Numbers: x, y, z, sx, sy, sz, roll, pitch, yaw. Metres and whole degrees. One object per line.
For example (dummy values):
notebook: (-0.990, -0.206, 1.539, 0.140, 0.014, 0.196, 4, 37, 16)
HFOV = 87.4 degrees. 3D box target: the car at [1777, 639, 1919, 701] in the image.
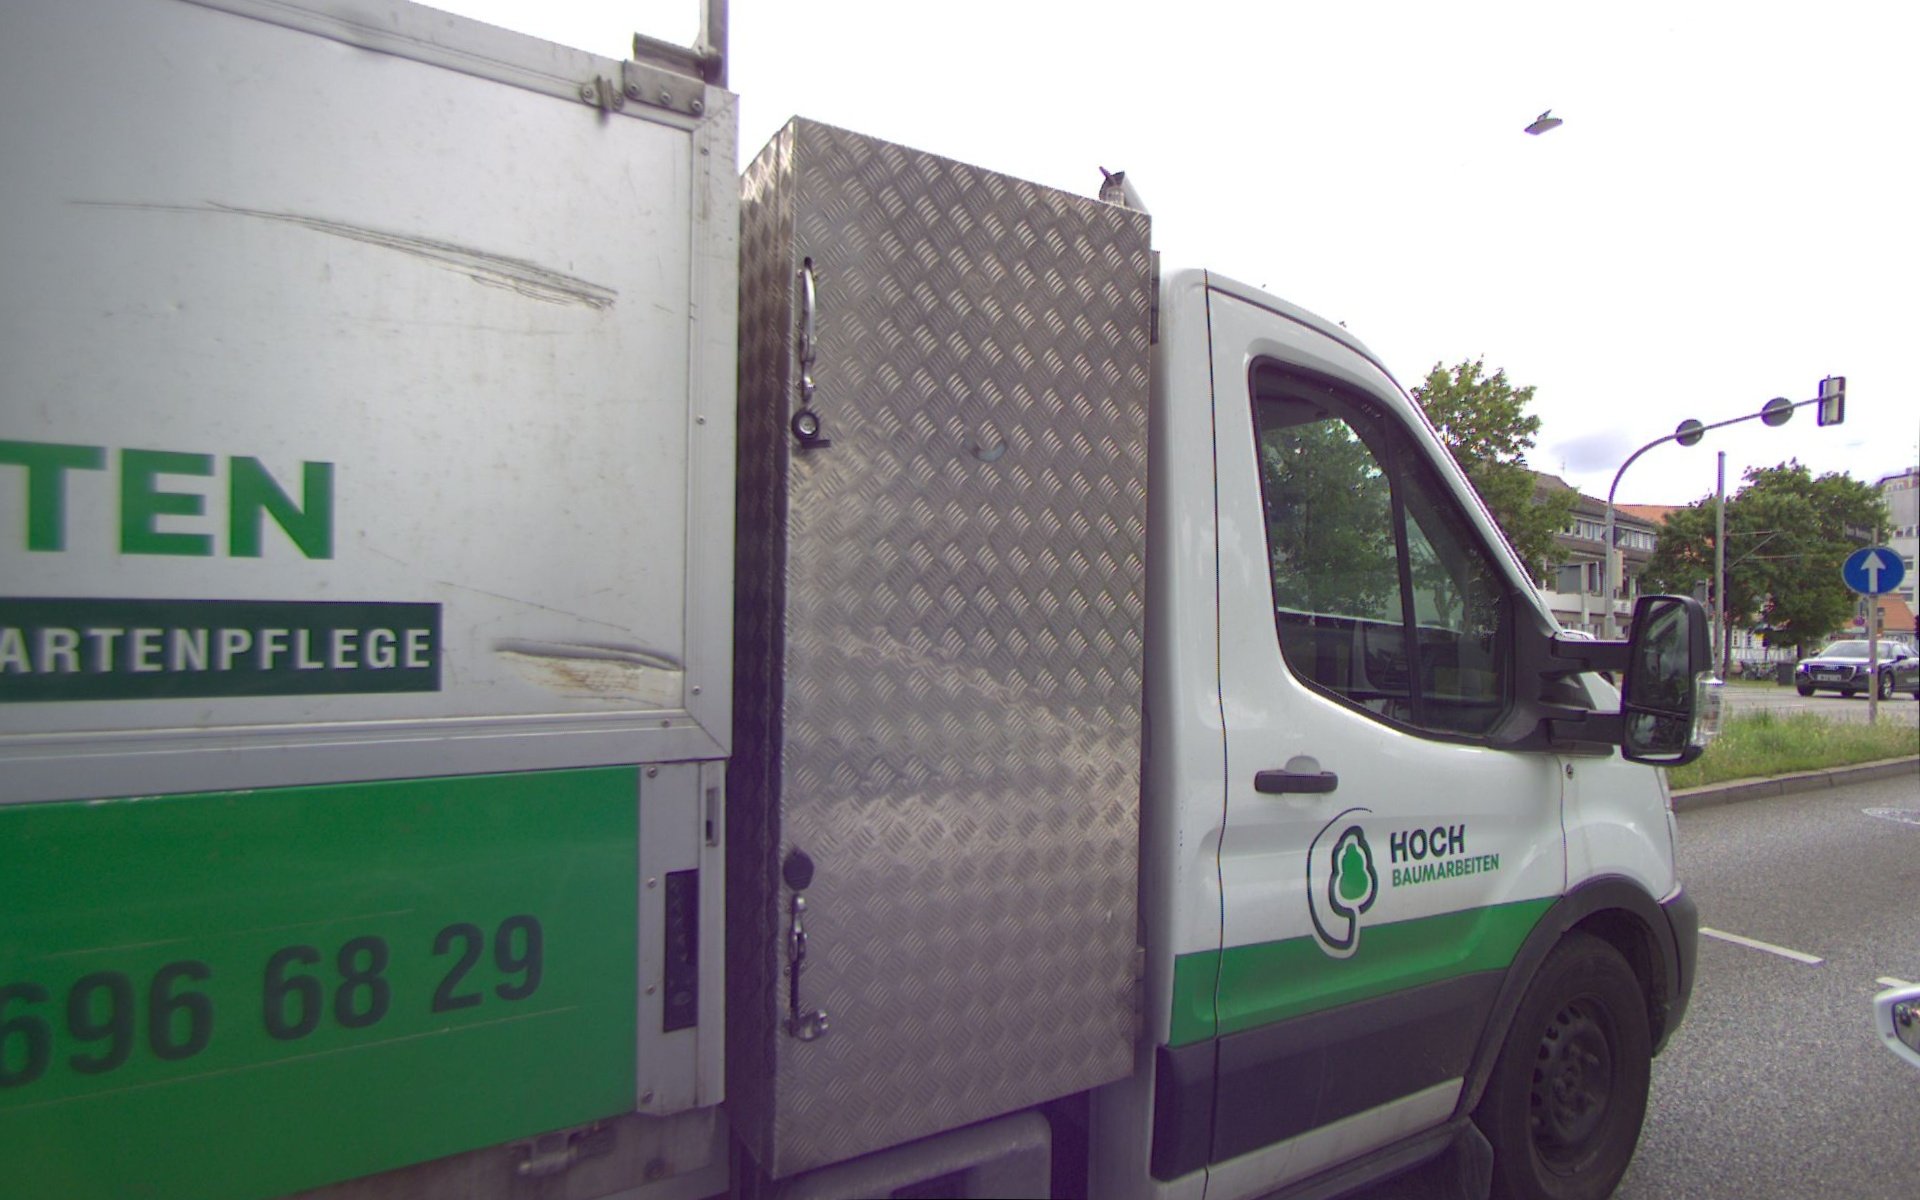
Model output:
car: (23.205, 1.766, 26.036, 3.952, 1.447, 1.853, 1, -2, -30)

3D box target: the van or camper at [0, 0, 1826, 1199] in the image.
van or camper: (-0.578, 0.160, 2.314, 5.901, 2.697, 2.329, 2, -1, -33)

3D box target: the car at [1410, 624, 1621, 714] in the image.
car: (10.249, 1.236, 18.471, 3.957, 1.483, 1.735, 2, -3, -33)

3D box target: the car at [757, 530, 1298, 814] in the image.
car: (0.742, 0.538, 9.214, 4.802, 2.029, 1.826, 1, 0, -31)
